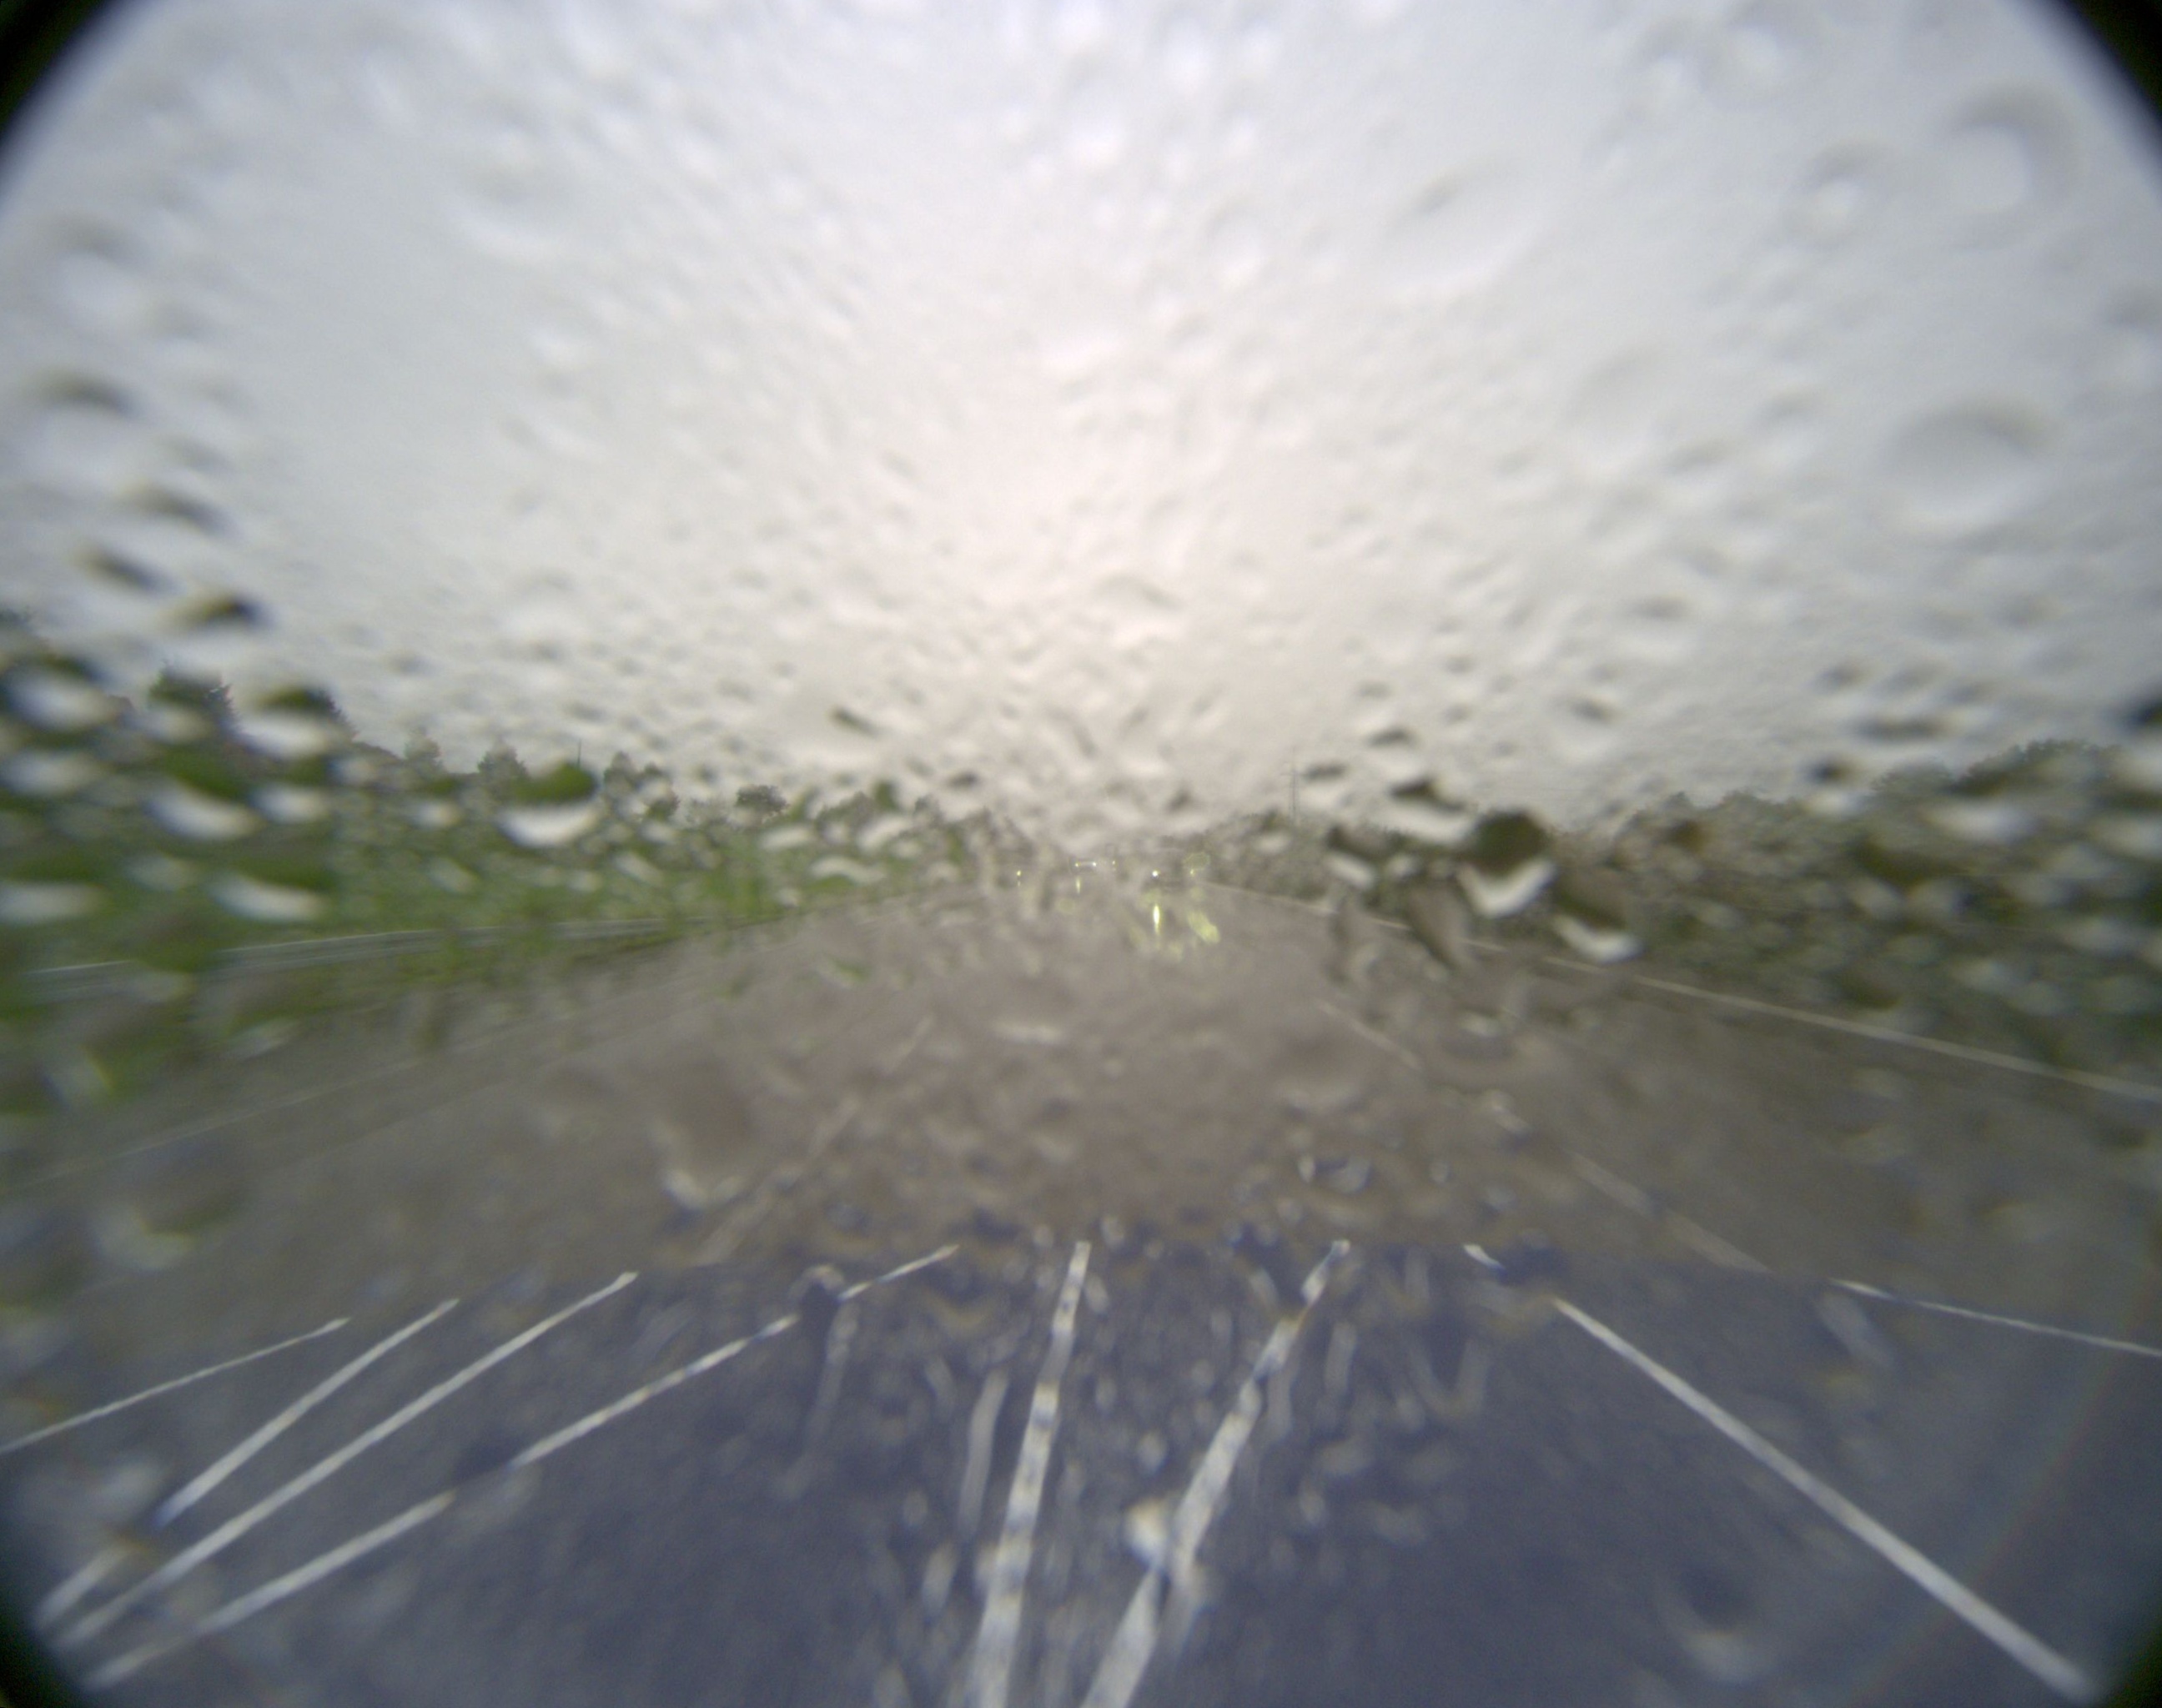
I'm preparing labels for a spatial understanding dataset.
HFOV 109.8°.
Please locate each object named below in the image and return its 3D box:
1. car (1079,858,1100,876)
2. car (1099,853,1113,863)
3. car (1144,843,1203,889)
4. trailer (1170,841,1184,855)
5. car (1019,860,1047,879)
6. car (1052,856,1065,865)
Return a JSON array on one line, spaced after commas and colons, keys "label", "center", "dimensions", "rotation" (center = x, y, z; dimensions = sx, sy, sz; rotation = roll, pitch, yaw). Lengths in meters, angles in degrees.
[{"label": "car", "center": [0.738, 1.147, 67.683], "dimensions": [1.753, 1.406, 3.999], "rotation": [-2, 1, 0]}, {"label": "car", "center": [3.536, 0.594, 108.122], "dimensions": [1.753, 1.369, 4.000], "rotation": [-2, 0, 0]}, {"label": "car", "center": [3.897, 0.470, 32.743], "dimensions": [2.047, 1.763, 4.500], "rotation": [-2, 0, 1]}, {"label": "trailer", "center": [22.226, -1.472, 175.831], "dimensions": [2.252, 3.047, 8.264], "rotation": [-2, 1, 1]}, {"label": "car", "center": [-3.492, 1.106, 56.291], "dimensions": [1.753, 1.205, 3.999], "rotation": [-2, 1, 0]}, {"label": "car", "center": [-3.443, 1.017, 117.665], "dimensions": [1.753, 1.205, 3.999], "rotation": [-2, 1, 0]}]
